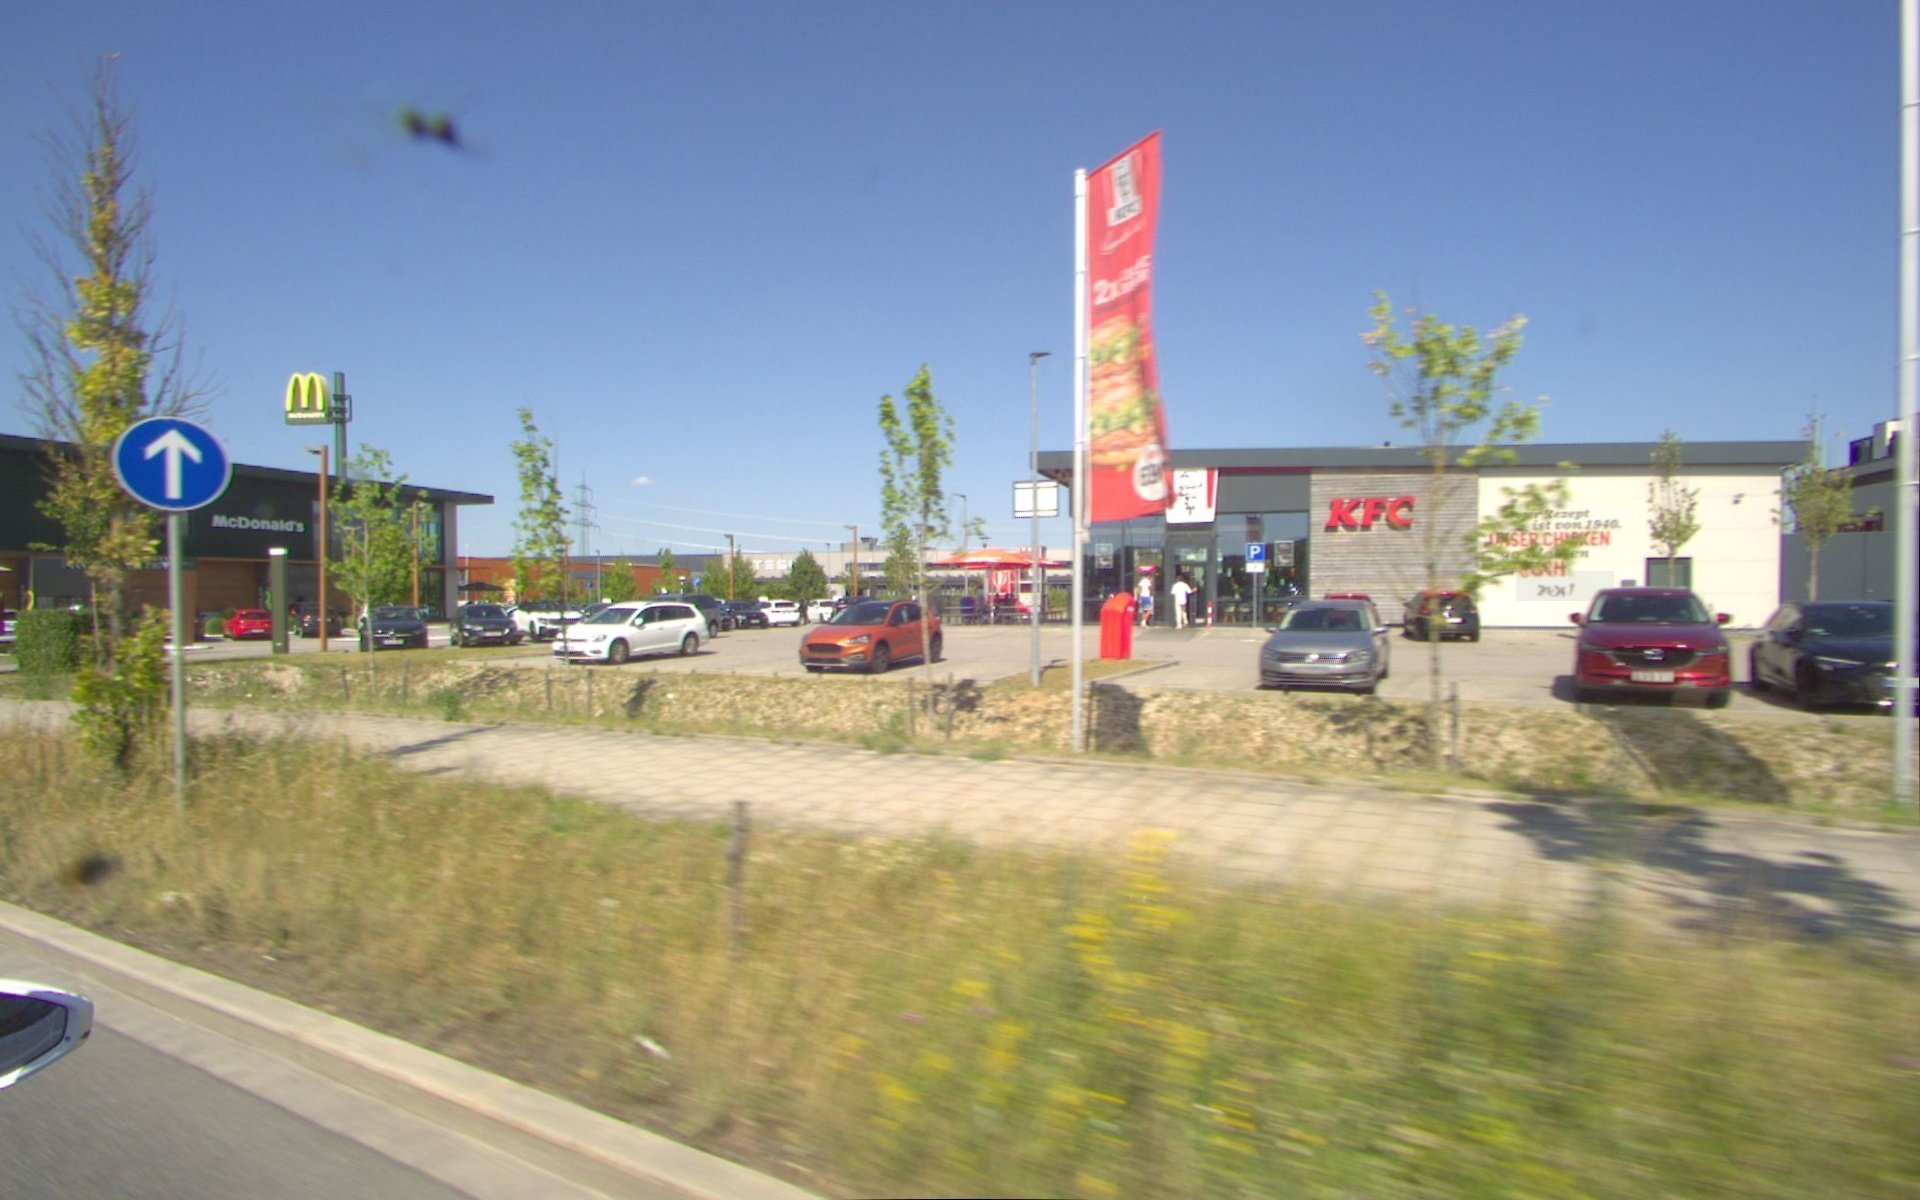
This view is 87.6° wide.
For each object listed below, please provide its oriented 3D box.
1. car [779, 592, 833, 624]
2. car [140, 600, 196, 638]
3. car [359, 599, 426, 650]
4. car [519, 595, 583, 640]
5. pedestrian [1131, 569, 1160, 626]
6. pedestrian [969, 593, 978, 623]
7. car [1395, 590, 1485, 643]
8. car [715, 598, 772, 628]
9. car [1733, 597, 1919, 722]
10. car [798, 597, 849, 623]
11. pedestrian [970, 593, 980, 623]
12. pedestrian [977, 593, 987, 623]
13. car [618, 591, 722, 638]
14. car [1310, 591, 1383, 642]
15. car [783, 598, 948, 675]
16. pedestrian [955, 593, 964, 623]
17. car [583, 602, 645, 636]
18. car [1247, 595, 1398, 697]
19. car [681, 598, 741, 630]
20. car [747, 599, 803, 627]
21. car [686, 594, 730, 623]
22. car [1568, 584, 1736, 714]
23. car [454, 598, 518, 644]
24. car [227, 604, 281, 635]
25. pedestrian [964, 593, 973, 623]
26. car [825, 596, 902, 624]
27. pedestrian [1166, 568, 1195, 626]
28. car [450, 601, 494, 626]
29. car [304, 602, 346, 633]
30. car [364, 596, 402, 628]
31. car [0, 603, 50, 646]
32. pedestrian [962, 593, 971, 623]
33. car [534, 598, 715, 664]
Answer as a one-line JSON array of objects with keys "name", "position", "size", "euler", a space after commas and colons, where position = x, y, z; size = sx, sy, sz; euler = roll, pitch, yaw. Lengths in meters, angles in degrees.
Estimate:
[{"name": "car", "position": [-8.809, 0.449, 57.097], "size": [1.765, 1.781, 4.148], "euler": [-1, 0, -29]}, {"name": "car", "position": [-35.987, 0.823, 45.478], "size": [1.779, 1.626, 3.964], "euler": [-1, 1, -41]}, {"name": "car", "position": [-17.619, 0.716, 31.197], "size": [1.677, 1.481, 4.148], "euler": [-1, 0, -29]}, {"name": "car", "position": [-15.551, 0.635, 37.975], "size": [1.765, 1.600, 4.148], "euler": [-1, 0, -29]}, {"name": "pedestrian", "position": [6.664, -0.087, 35.964], "size": [0.876, 2.040, 0.913], "euler": [0, 1, 22]}, {"name": "pedestrian", "position": [0.581, 0.336, 42.365], "size": [0.287, 1.257, 0.380], "euler": [0, 1, 17]}, {"name": "car", "position": [14.491, 0.453, 30.474], "size": [1.835, 1.451, 4.561], "euler": [0, 1, 18]}, {"name": "car", "position": [-11.174, 0.628, 51.426], "size": [1.765, 1.470, 4.148], "euler": [-1, 0, -29]}, {"name": "car", "position": [12.510, 0.715, 14.103], "size": [1.762, 1.469, 4.151], "euler": [0, 1, 26]}, {"name": "car", "position": [-8.398, 0.607, 61.342], "size": [1.765, 1.543, 4.148], "euler": [-1, 0, -29]}, {"name": "pedestrian", "position": [0.645, 0.343, 43.161], "size": [0.287, 1.257, 0.380], "euler": [0, 1, 17]}, {"name": "pedestrian", "position": [0.946, 0.342, 43.076], "size": [0.287, 1.257, 0.380], "euler": [0, 1, 17]}, {"name": "car", "position": [-10.784, 0.525, 37.582], "size": [1.759, 1.657, 4.162], "euler": [0, 0, 17]}, {"name": "car", "position": [12.062, 0.458, 31.469], "size": [1.835, 1.451, 4.561], "euler": [0, 1, 18]}, {"name": "car", "position": [-1.998, 0.726, 22.477], "size": [1.838, 1.510, 4.203], "euler": [0, 1, 25]}, {"name": "pedestrian", "position": [-0.012, 0.339, 42.526], "size": [0.287, 1.257, 0.380], "euler": [0, 1, 17]}, {"name": "car", "position": [-14.350, 0.741, 41.372], "size": [1.765, 1.315, 4.148], "euler": [-1, 0, -29]}, {"name": "car", "position": [6.507, 0.689, 17.672], "size": [1.840, 1.510, 4.549], "euler": [0, 1, 29]}, {"name": "car", "position": [-11.909, 0.637, 47.773], "size": [1.765, 1.470, 4.148], "euler": [-1, 0, -29]}, {"name": "car", "position": [-10.131, 0.697, 54.590], "size": [1.765, 1.470, 4.148], "euler": [-1, 0, -29]}, {"name": "car", "position": [-16.359, 0.539, 64.971], "size": [1.765, 1.781, 4.148], "euler": [-1, 0, -29]}, {"name": "car", "position": [10.401, 0.603, 15.271], "size": [1.842, 1.688, 4.144], "euler": [0, 1, 32]}, {"name": "car", "position": [-16.446, 0.689, 34.655], "size": [1.765, 1.481, 4.148], "euler": [-1, 0, -29]}, {"name": "car", "position": [-34.639, 0.924, 49.079], "size": [1.779, 1.453, 3.964], "euler": [-1, 0, -41]}, {"name": "pedestrian", "position": [0.366, 0.345, 43.246], "size": [0.287, 1.257, 0.380], "euler": [0, 1, 17]}, {"name": "car", "position": [-5.618, 0.573, 58.368], "size": [4.103, 1.543, 1.784], "euler": [-1, 0, -25]}, {"name": "pedestrian", "position": [7.862, -0.093, 35.630], "size": [0.876, 2.040, 0.913], "euler": [0, 1, 22]}, {"name": "car", "position": [-30.508, 0.818, 62.707], "size": [1.766, 1.541, 3.993], "euler": [-1, 0, -16]}, {"name": "car", "position": [-33.287, 0.912, 52.582], "size": [1.773, 1.533, 3.977], "euler": [-1, 0, -31]}, {"name": "car", "position": [-32.528, 0.665, 56.427], "size": [1.773, 1.724, 3.978], "euler": [-1, 0, -30]}, {"name": "car", "position": [-35.100, 0.879, 35.991], "size": [3.928, 1.453, 1.795], "euler": [-1, 1, 18]}, {"name": "pedestrian", "position": [0.279, 0.337, 42.452], "size": [0.287, 1.257, 0.380], "euler": [0, 1, 17]}, {"name": "car", "position": [-8.532, 0.728, 25.920], "size": [1.838, 1.510, 4.524], "euler": [0, 1, 25]}]
